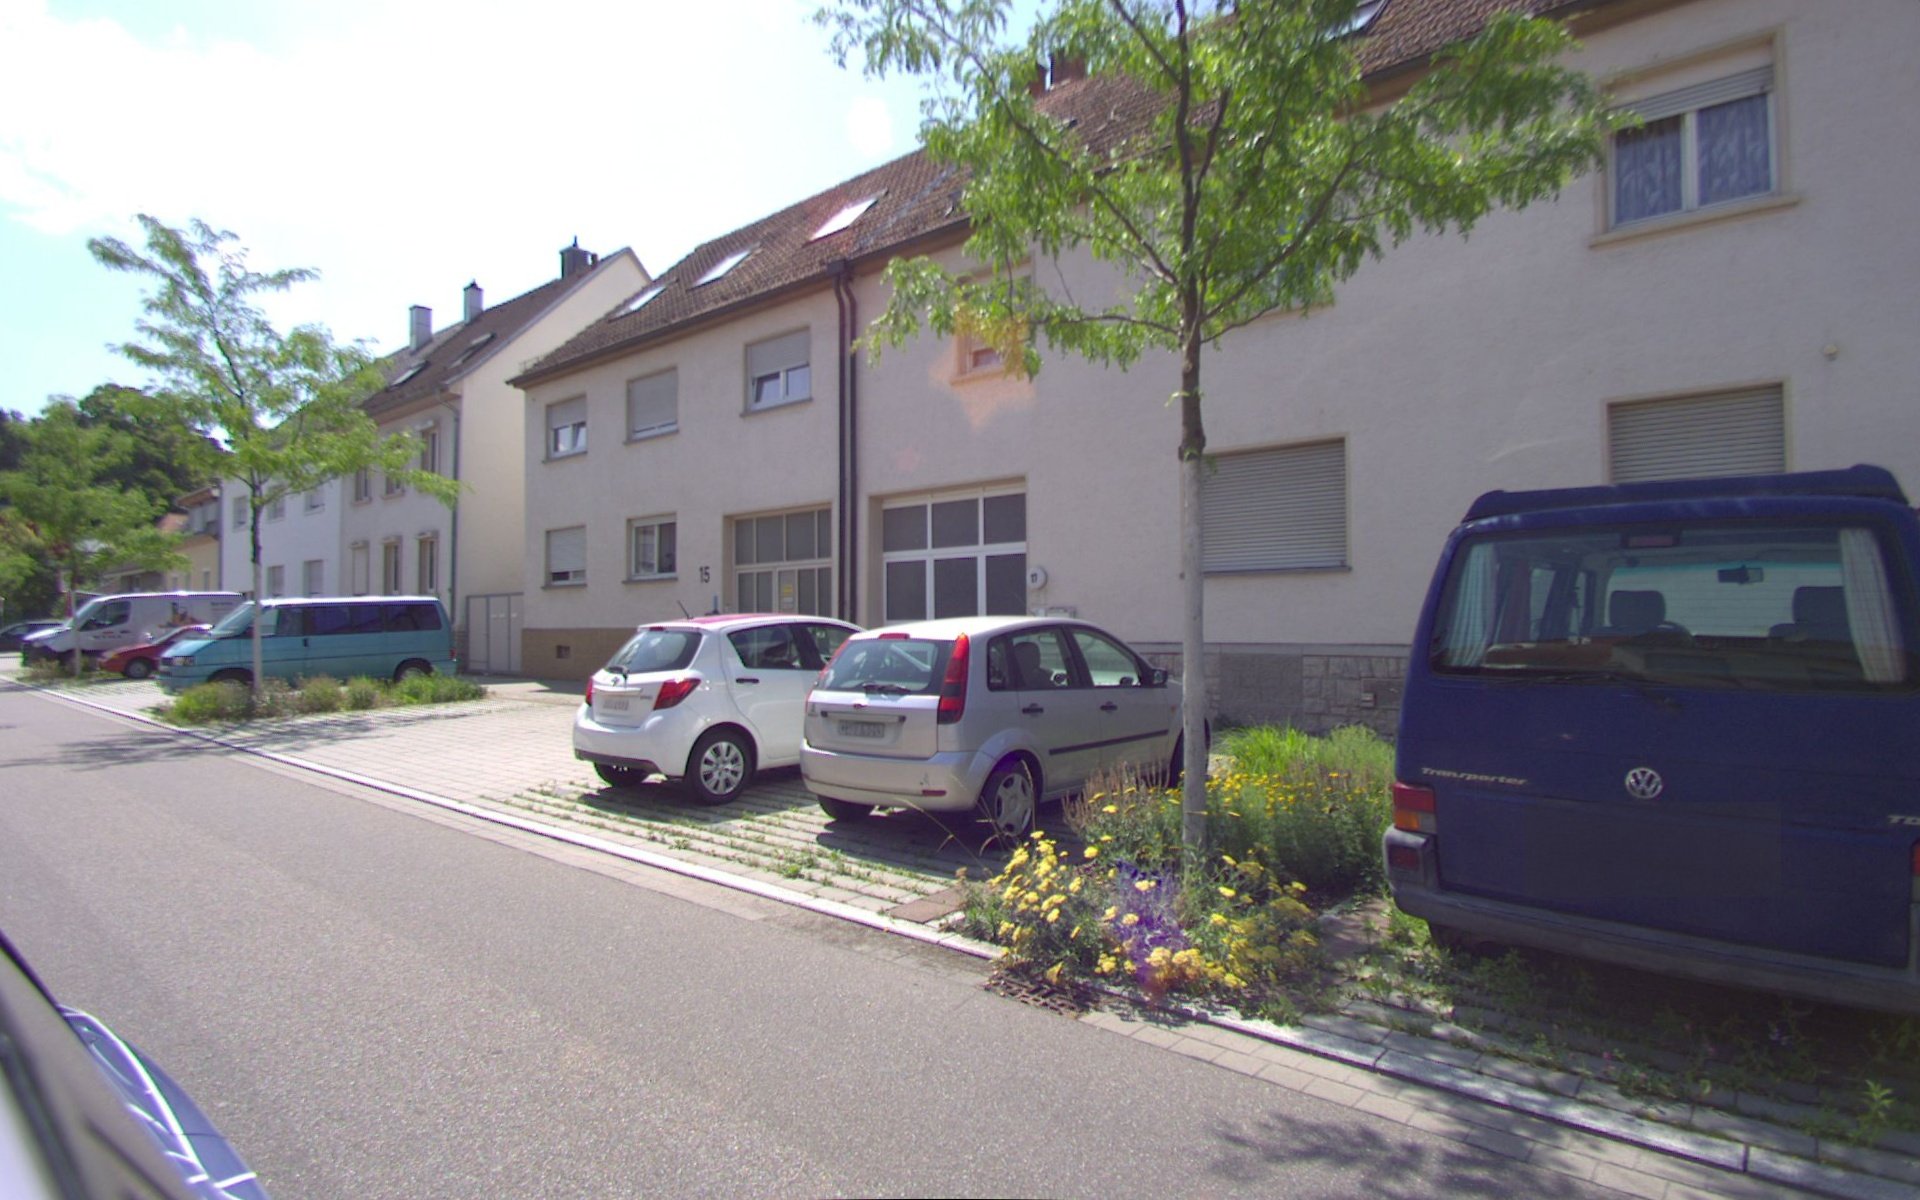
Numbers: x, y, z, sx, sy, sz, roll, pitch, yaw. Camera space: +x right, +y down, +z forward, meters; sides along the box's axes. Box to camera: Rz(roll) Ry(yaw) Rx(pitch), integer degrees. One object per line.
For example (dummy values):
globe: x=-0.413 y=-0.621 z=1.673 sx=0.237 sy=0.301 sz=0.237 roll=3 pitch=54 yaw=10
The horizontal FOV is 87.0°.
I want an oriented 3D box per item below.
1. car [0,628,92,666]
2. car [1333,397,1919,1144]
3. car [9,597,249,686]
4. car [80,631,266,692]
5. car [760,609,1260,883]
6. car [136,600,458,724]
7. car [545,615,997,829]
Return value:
car: x=-40.740 y=2.023 z=43.841 sx=1.900 sy=1.528 sz=4.539 roll=-2 pitch=-1 yaw=41
car: x=3.679 y=0.456 z=4.826 sx=1.953 sy=2.011 sz=4.563 roll=-2 pitch=-1 yaw=43
car: x=-24.217 y=1.123 z=29.692 sx=2.155 sy=2.305 sz=5.116 roll=-2 pitch=0 yaw=39
car: x=-21.246 y=1.604 z=27.420 sx=1.725 sy=1.396 sz=3.743 roll=-1 pitch=0 yaw=41
car: x=0.583 y=0.861 z=7.795 sx=1.772 sy=1.500 sz=3.873 roll=-2 pitch=-1 yaw=43
car: x=-12.100 y=1.015 z=18.735 sx=1.999 sy=1.921 sz=4.628 roll=-1 pitch=0 yaw=41
car: x=-1.585 y=0.937 z=9.475 sx=1.772 sy=1.500 sz=3.873 roll=-2 pitch=-1 yaw=43
